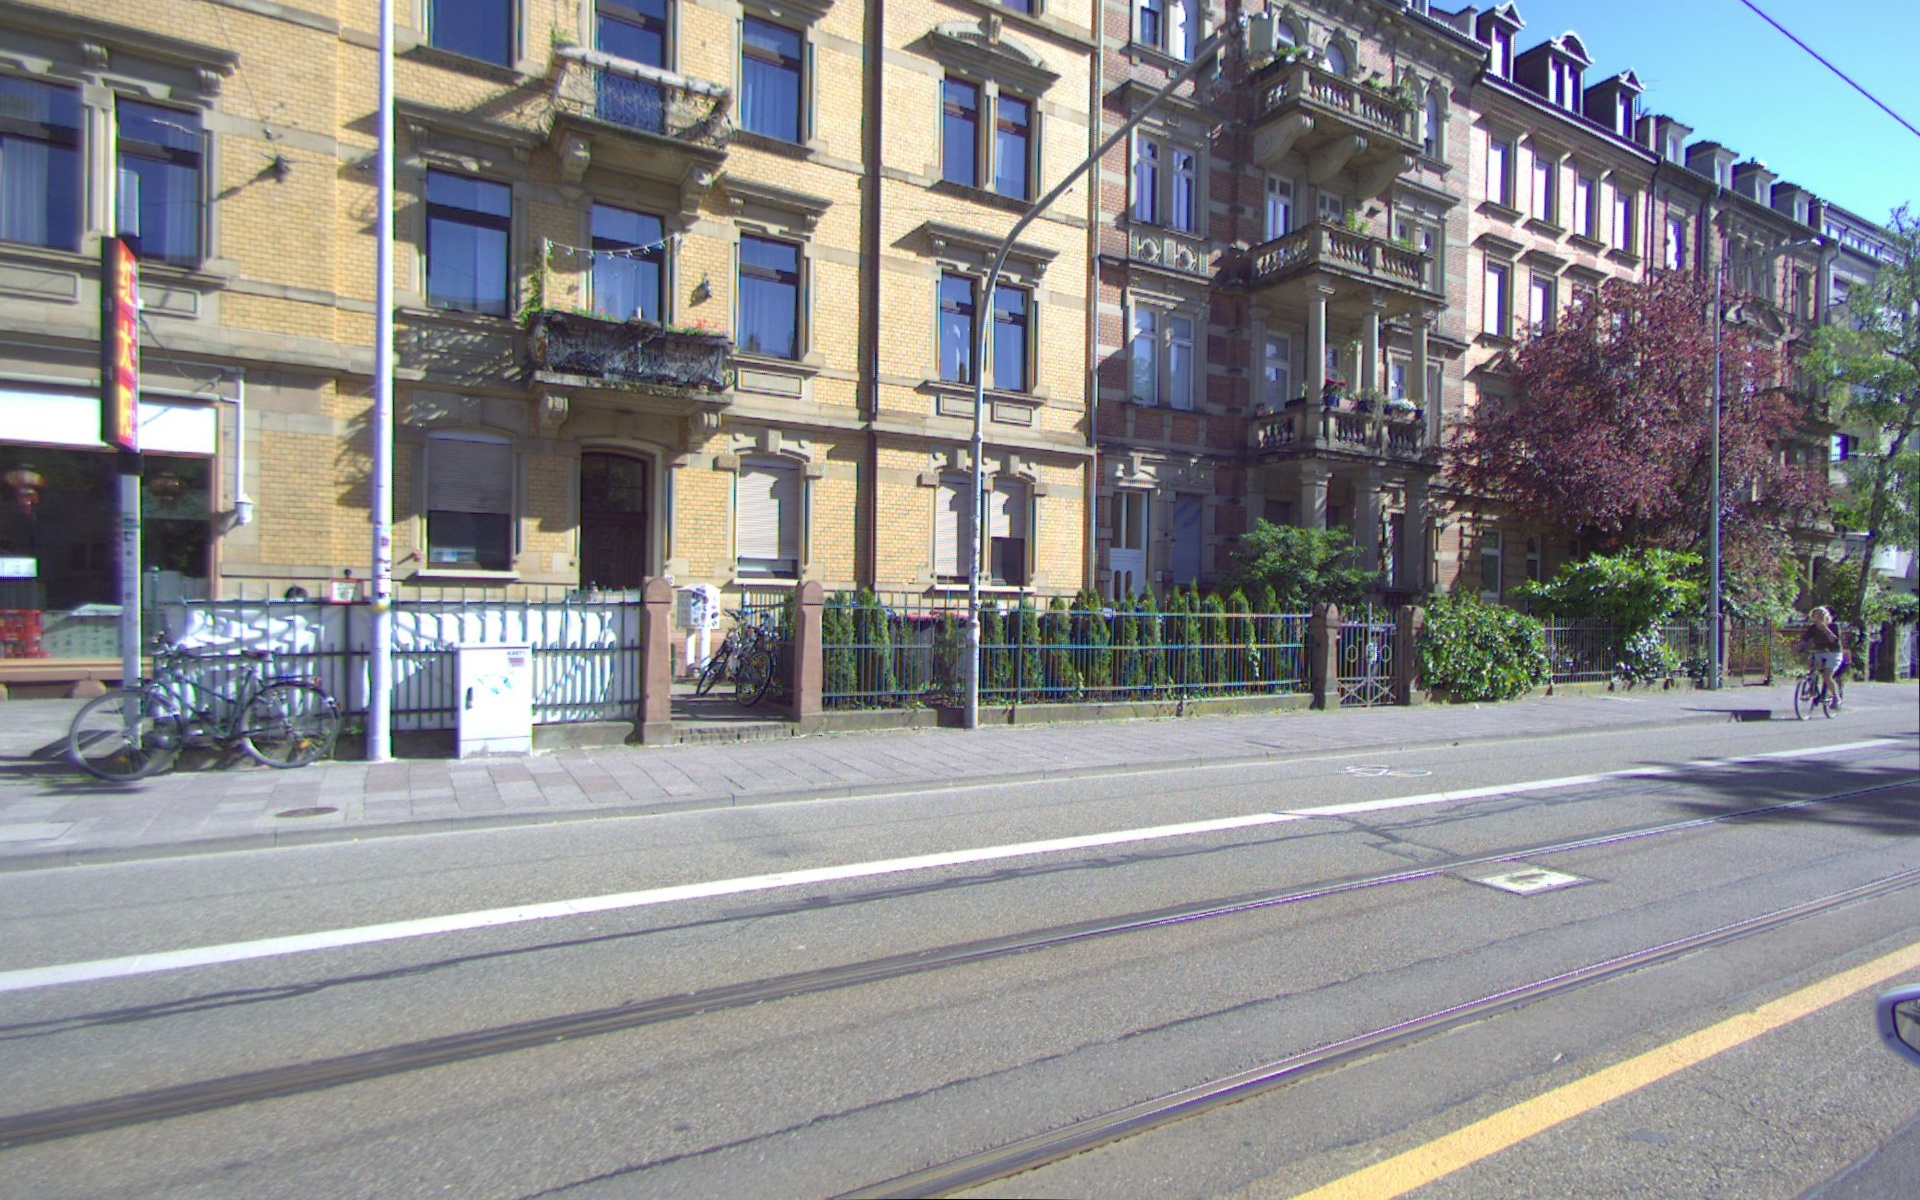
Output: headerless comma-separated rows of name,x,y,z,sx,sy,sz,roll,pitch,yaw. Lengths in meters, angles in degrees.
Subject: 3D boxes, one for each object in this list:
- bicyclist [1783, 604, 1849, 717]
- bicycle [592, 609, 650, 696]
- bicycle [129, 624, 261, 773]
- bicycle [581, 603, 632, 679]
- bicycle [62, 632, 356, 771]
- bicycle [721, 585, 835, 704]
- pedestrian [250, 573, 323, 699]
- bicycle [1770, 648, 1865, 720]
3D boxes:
bicyclist,14.293,1.001,16.772,0.608,1.825,0.657,2,-2,-30
bicycle,-4.377,0.644,12.915,0.385,0.988,1.527,1,1,-31
bicycle,-6.189,0.774,8.156,0.799,1.141,0.369,1,2,-30
bicycle,-5.076,0.562,14.375,0.385,0.988,1.527,1,1,-31
bicycle,-5.934,0.772,8.054,1.848,1.014,0.333,1,1,-30
bicycle,-2.289,0.509,12.449,0.608,1.338,1.748,1,2,-39
pedestrian,-7.650,0.411,11.434,0.570,1.370,0.897,1,-2,-28
bicycle,14.359,1.381,16.813,1.698,1.127,0.688,1,-1,-30
